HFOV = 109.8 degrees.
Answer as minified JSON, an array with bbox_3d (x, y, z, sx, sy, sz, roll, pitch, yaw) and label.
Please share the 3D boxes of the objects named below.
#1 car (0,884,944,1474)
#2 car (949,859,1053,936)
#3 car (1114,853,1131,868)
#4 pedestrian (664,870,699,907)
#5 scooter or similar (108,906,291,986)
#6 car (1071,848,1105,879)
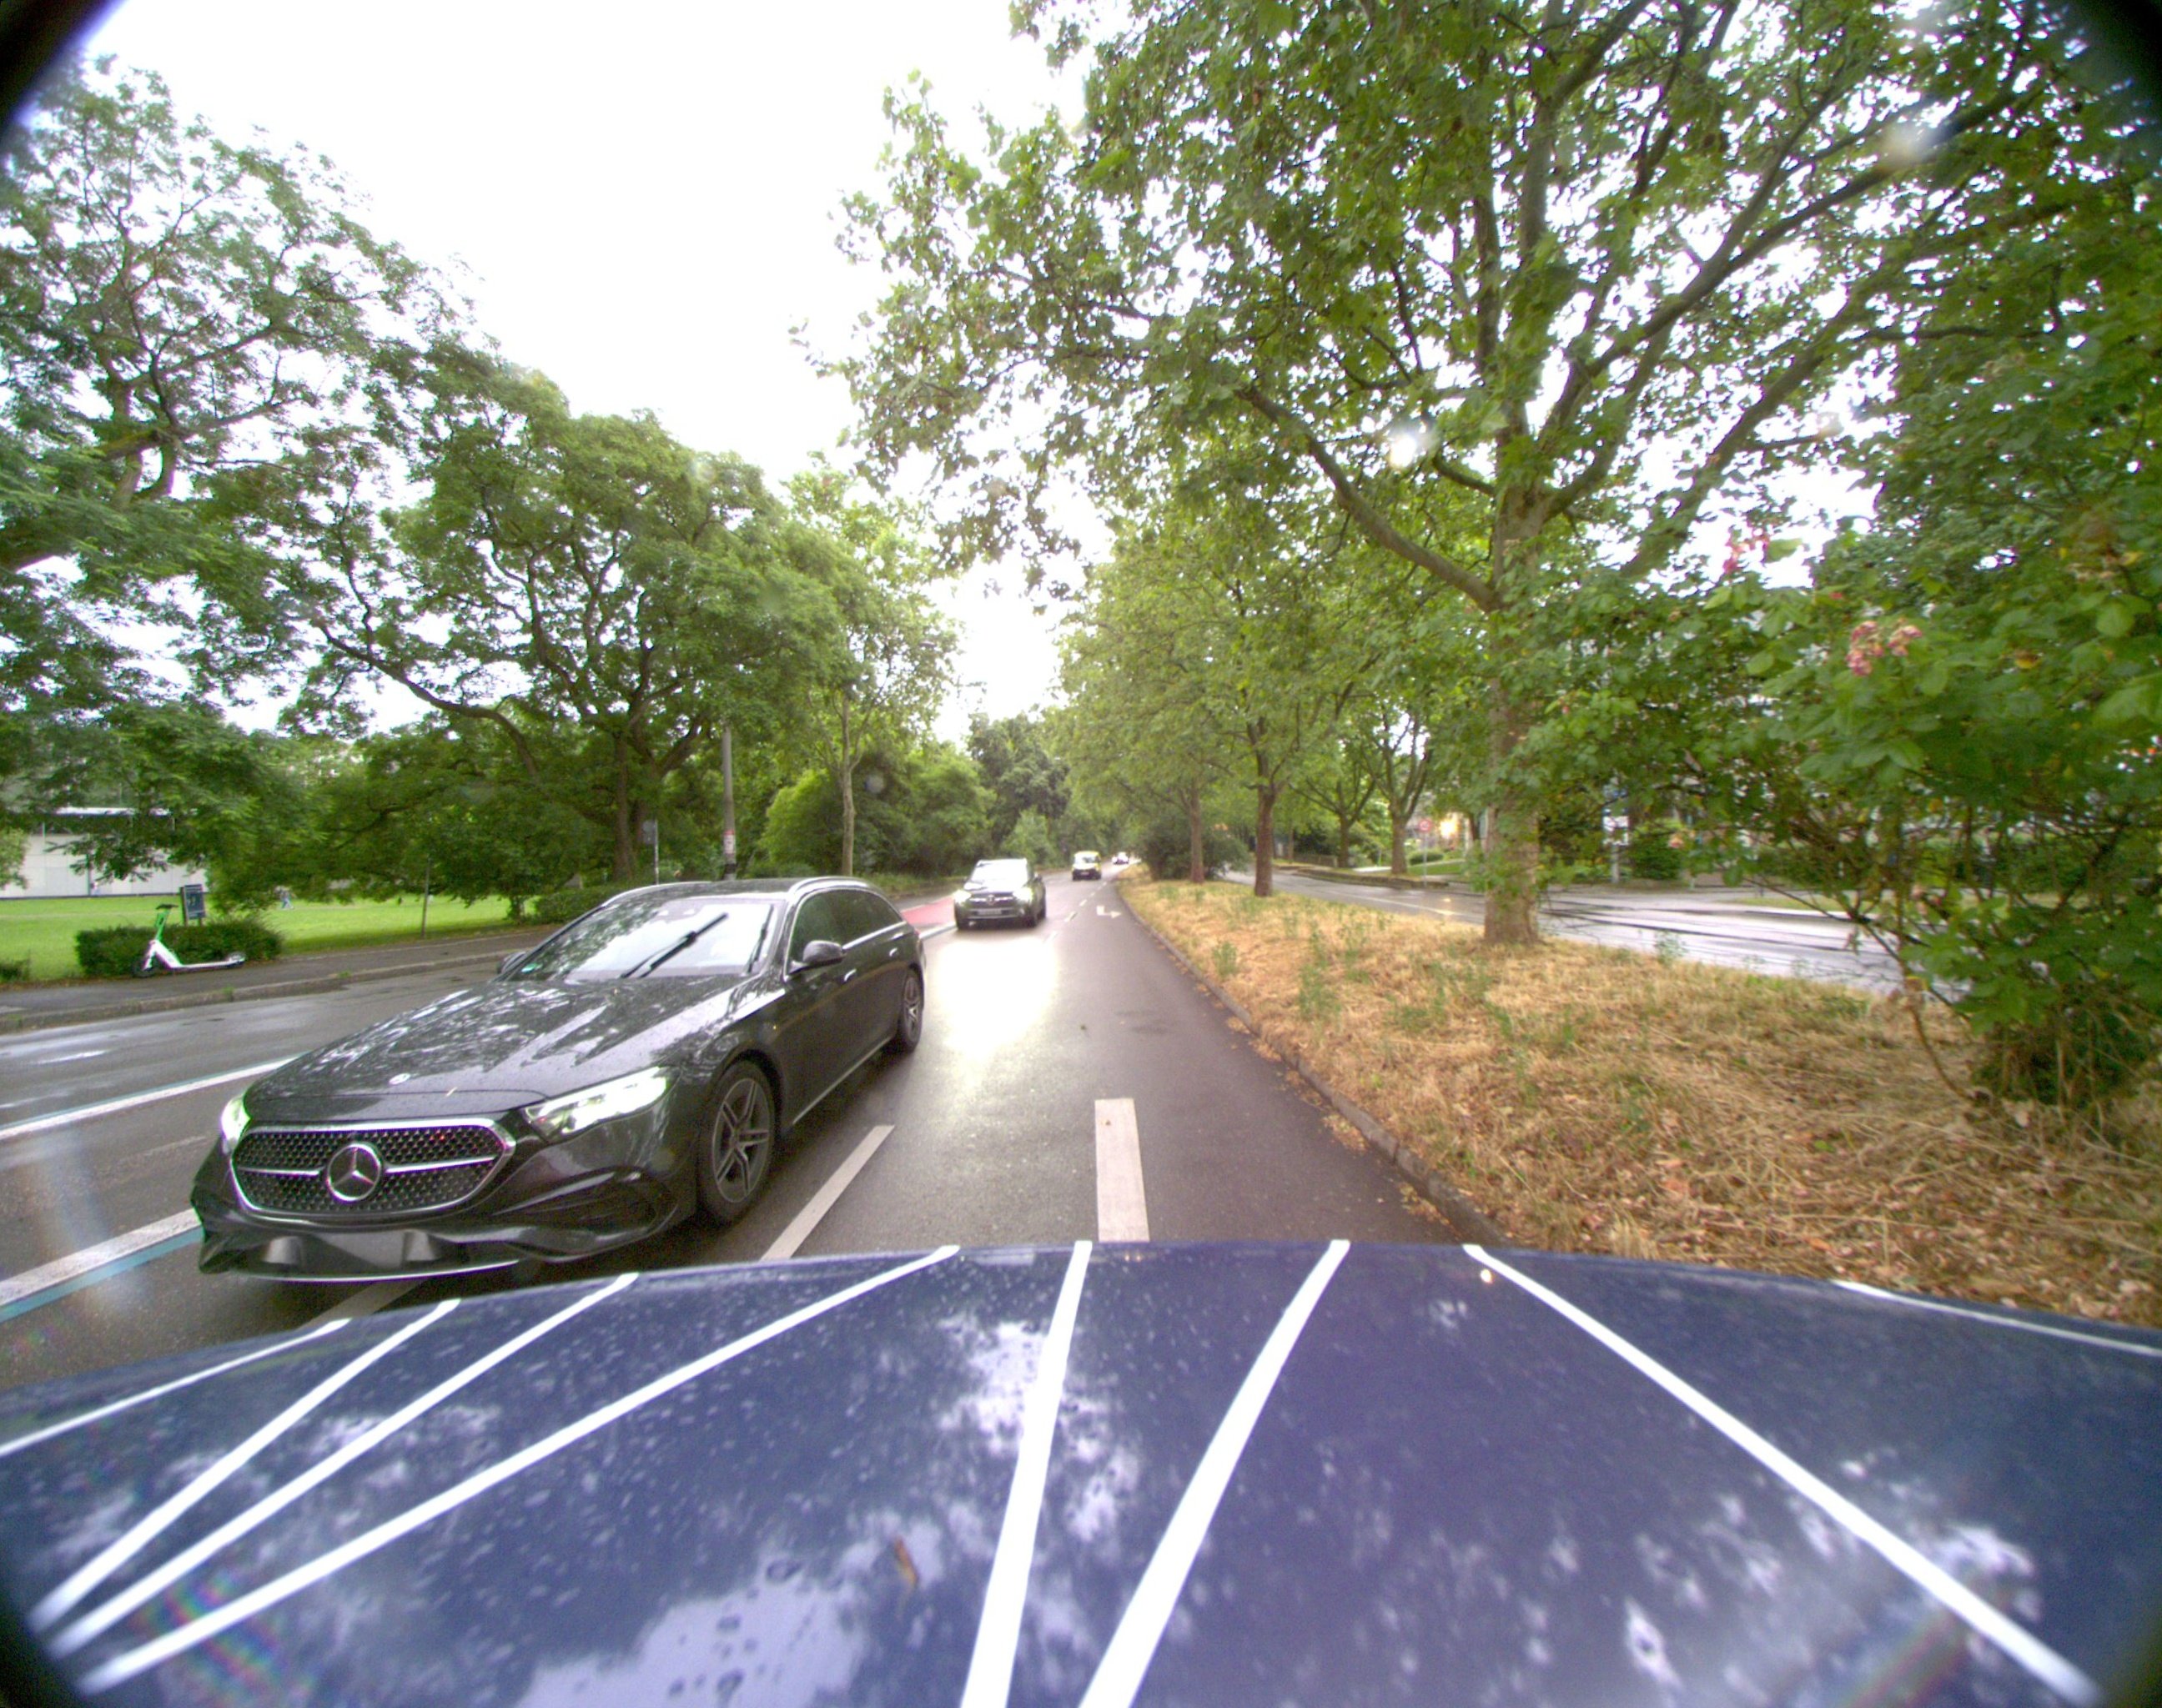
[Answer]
[{"bbox_3d":[-2.362,1.045,4.629,1.884,1.437,4.931,-3,0,3],"label":"car"},{"bbox_3d":[-1.877,1.003,19.375,1.833,1.599,4.578,-3,0,3],"label":"car"},{"bbox_3d":[5.169,0.765,93.822,1.906,1.766,4.001,-2,0,4],"label":"car"},{"bbox_3d":[-18.218,1.578,34.655,1.068,1.597,1.060,-1,2,42],"label":"pedestrian"},{"bbox_3d":[-14.553,1.482,12.624,0.557,1.095,1.894,2,0,22],"label":"scooter or similar"},{"bbox_3d":[0.544,0.615,51.929,1.883,1.865,4.743,-3,0,5],"label":"car"}]
